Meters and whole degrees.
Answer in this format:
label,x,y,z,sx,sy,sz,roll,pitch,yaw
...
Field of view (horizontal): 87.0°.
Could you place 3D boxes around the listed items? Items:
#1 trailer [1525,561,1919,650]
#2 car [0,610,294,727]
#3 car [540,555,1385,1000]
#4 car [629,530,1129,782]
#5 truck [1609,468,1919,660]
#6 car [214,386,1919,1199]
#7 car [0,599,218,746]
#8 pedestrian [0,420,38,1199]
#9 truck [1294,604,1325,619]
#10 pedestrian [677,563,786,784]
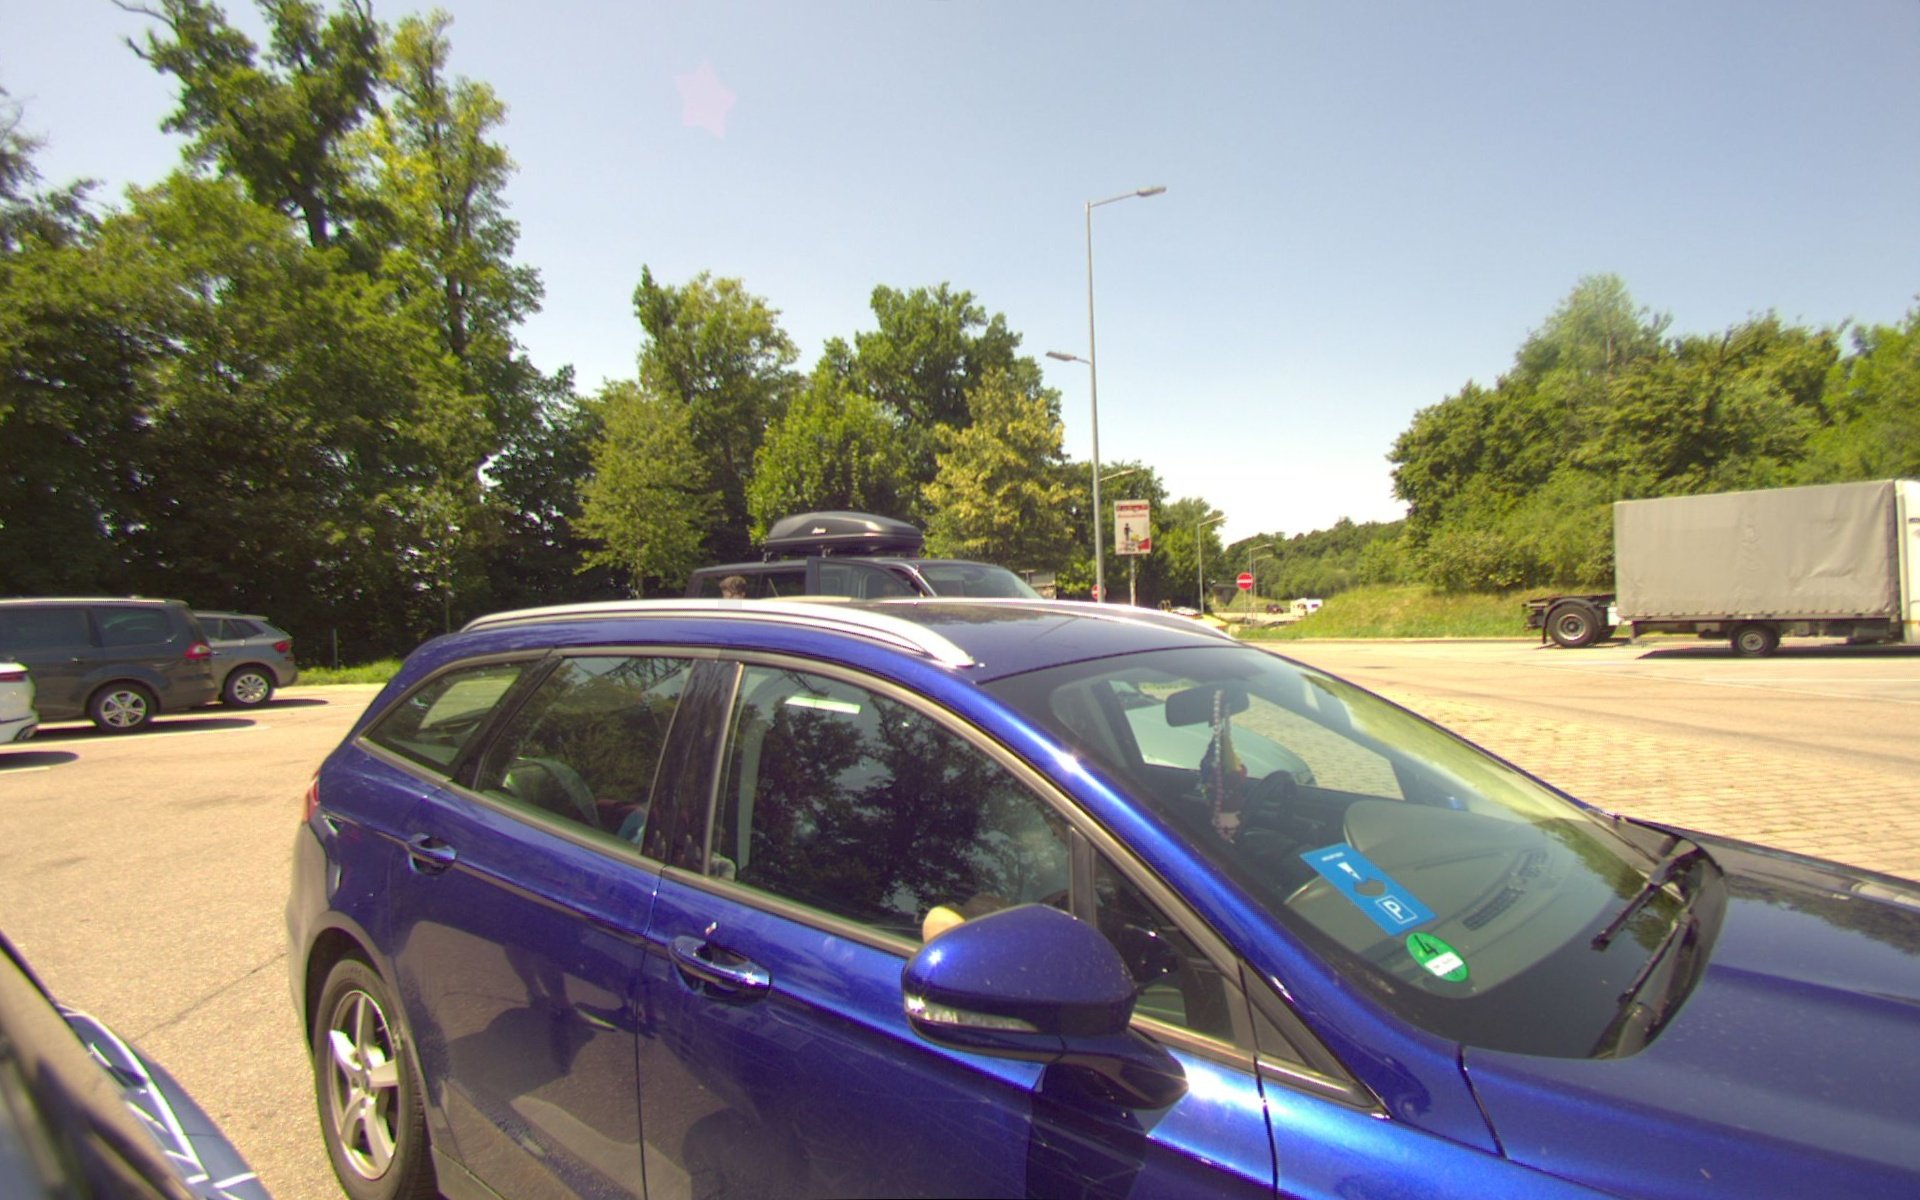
label,x,y,z,sx,sy,sz,roll,pitch,yaw
trailer,17.707,0.164,23.088,8.098,1.638,2.187,-4,-1,41
car,-12.620,0.969,15.637,3.767,1.572,1.654,-1,0,-38
car,-0.317,0.668,5.586,4.569,1.517,1.735,-3,0,40
car,-0.888,0.498,9.634,4.558,1.912,1.740,-3,0,32
truck,16.784,-0.642,18.990,7.274,3.269,2.678,-4,-1,42
car,0.238,0.632,2.049,4.569,1.482,1.735,-3,0,40
car,-11.628,0.865,12.630,3.767,1.708,1.654,-1,0,-38
pedestrian,-2.722,0.518,2.218,0.905,1.919,0.816,-1,0,-33
truck,49.978,1.674,144.956,2.304,2.029,5.203,-1,0,-5
pedestrian,-1.913,0.593,8.559,0.744,1.767,0.785,-1,0,-1
